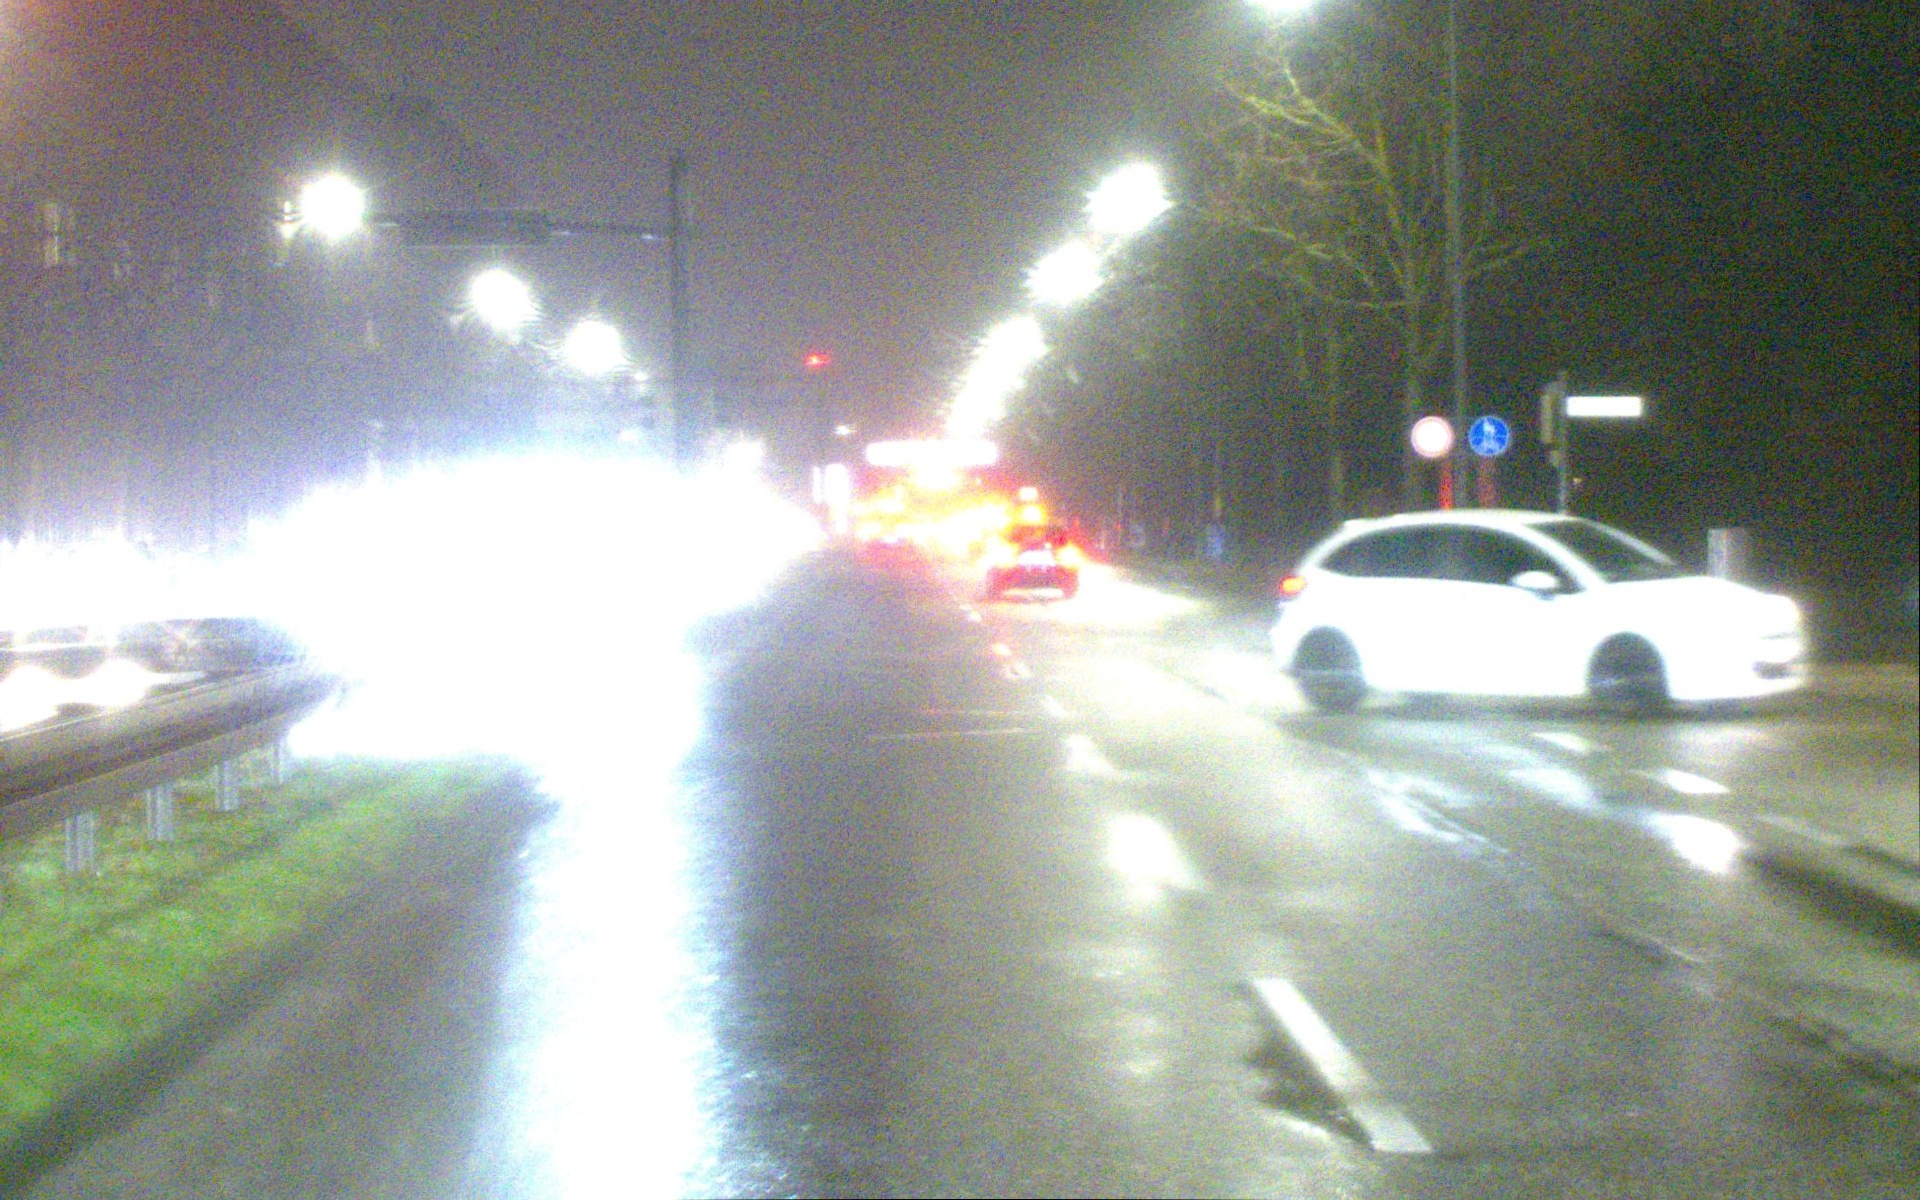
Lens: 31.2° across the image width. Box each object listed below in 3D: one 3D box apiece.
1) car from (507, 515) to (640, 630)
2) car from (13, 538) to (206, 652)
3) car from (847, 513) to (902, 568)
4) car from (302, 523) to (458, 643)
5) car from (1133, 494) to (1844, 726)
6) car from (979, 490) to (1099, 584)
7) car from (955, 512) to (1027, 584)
[{"bbox_3d":[-6.992,-0.514,62.610,1.993,2.007,4.000,-1,1,-1],"label":"car"},{"bbox_3d":[-12.394,-0.095,50.354,1.770,1.564,4.331,-1,1,-1],"label":"car"},{"bbox_3d":[-3.142,-2.180,127.122,1.993,2.007,4.000,0,0,-1],"label":"car"},{"bbox_3d":[-9.117,-0.283,54.320,1.783,1.809,4.000,-1,1,0],"label":"car"},{"bbox_3d":[3.926,0.048,26.019,4.965,1.604,1.996,0,0,37],"label":"car"},{"bbox_3d":[1.506,-1.203,66.812,1.902,1.774,4.001,0,0,-5],"label":"car"},{"bbox_3d":[0.967,-1.629,108.520,2.208,2.207,3.643,0,0,0],"label":"car"}]
